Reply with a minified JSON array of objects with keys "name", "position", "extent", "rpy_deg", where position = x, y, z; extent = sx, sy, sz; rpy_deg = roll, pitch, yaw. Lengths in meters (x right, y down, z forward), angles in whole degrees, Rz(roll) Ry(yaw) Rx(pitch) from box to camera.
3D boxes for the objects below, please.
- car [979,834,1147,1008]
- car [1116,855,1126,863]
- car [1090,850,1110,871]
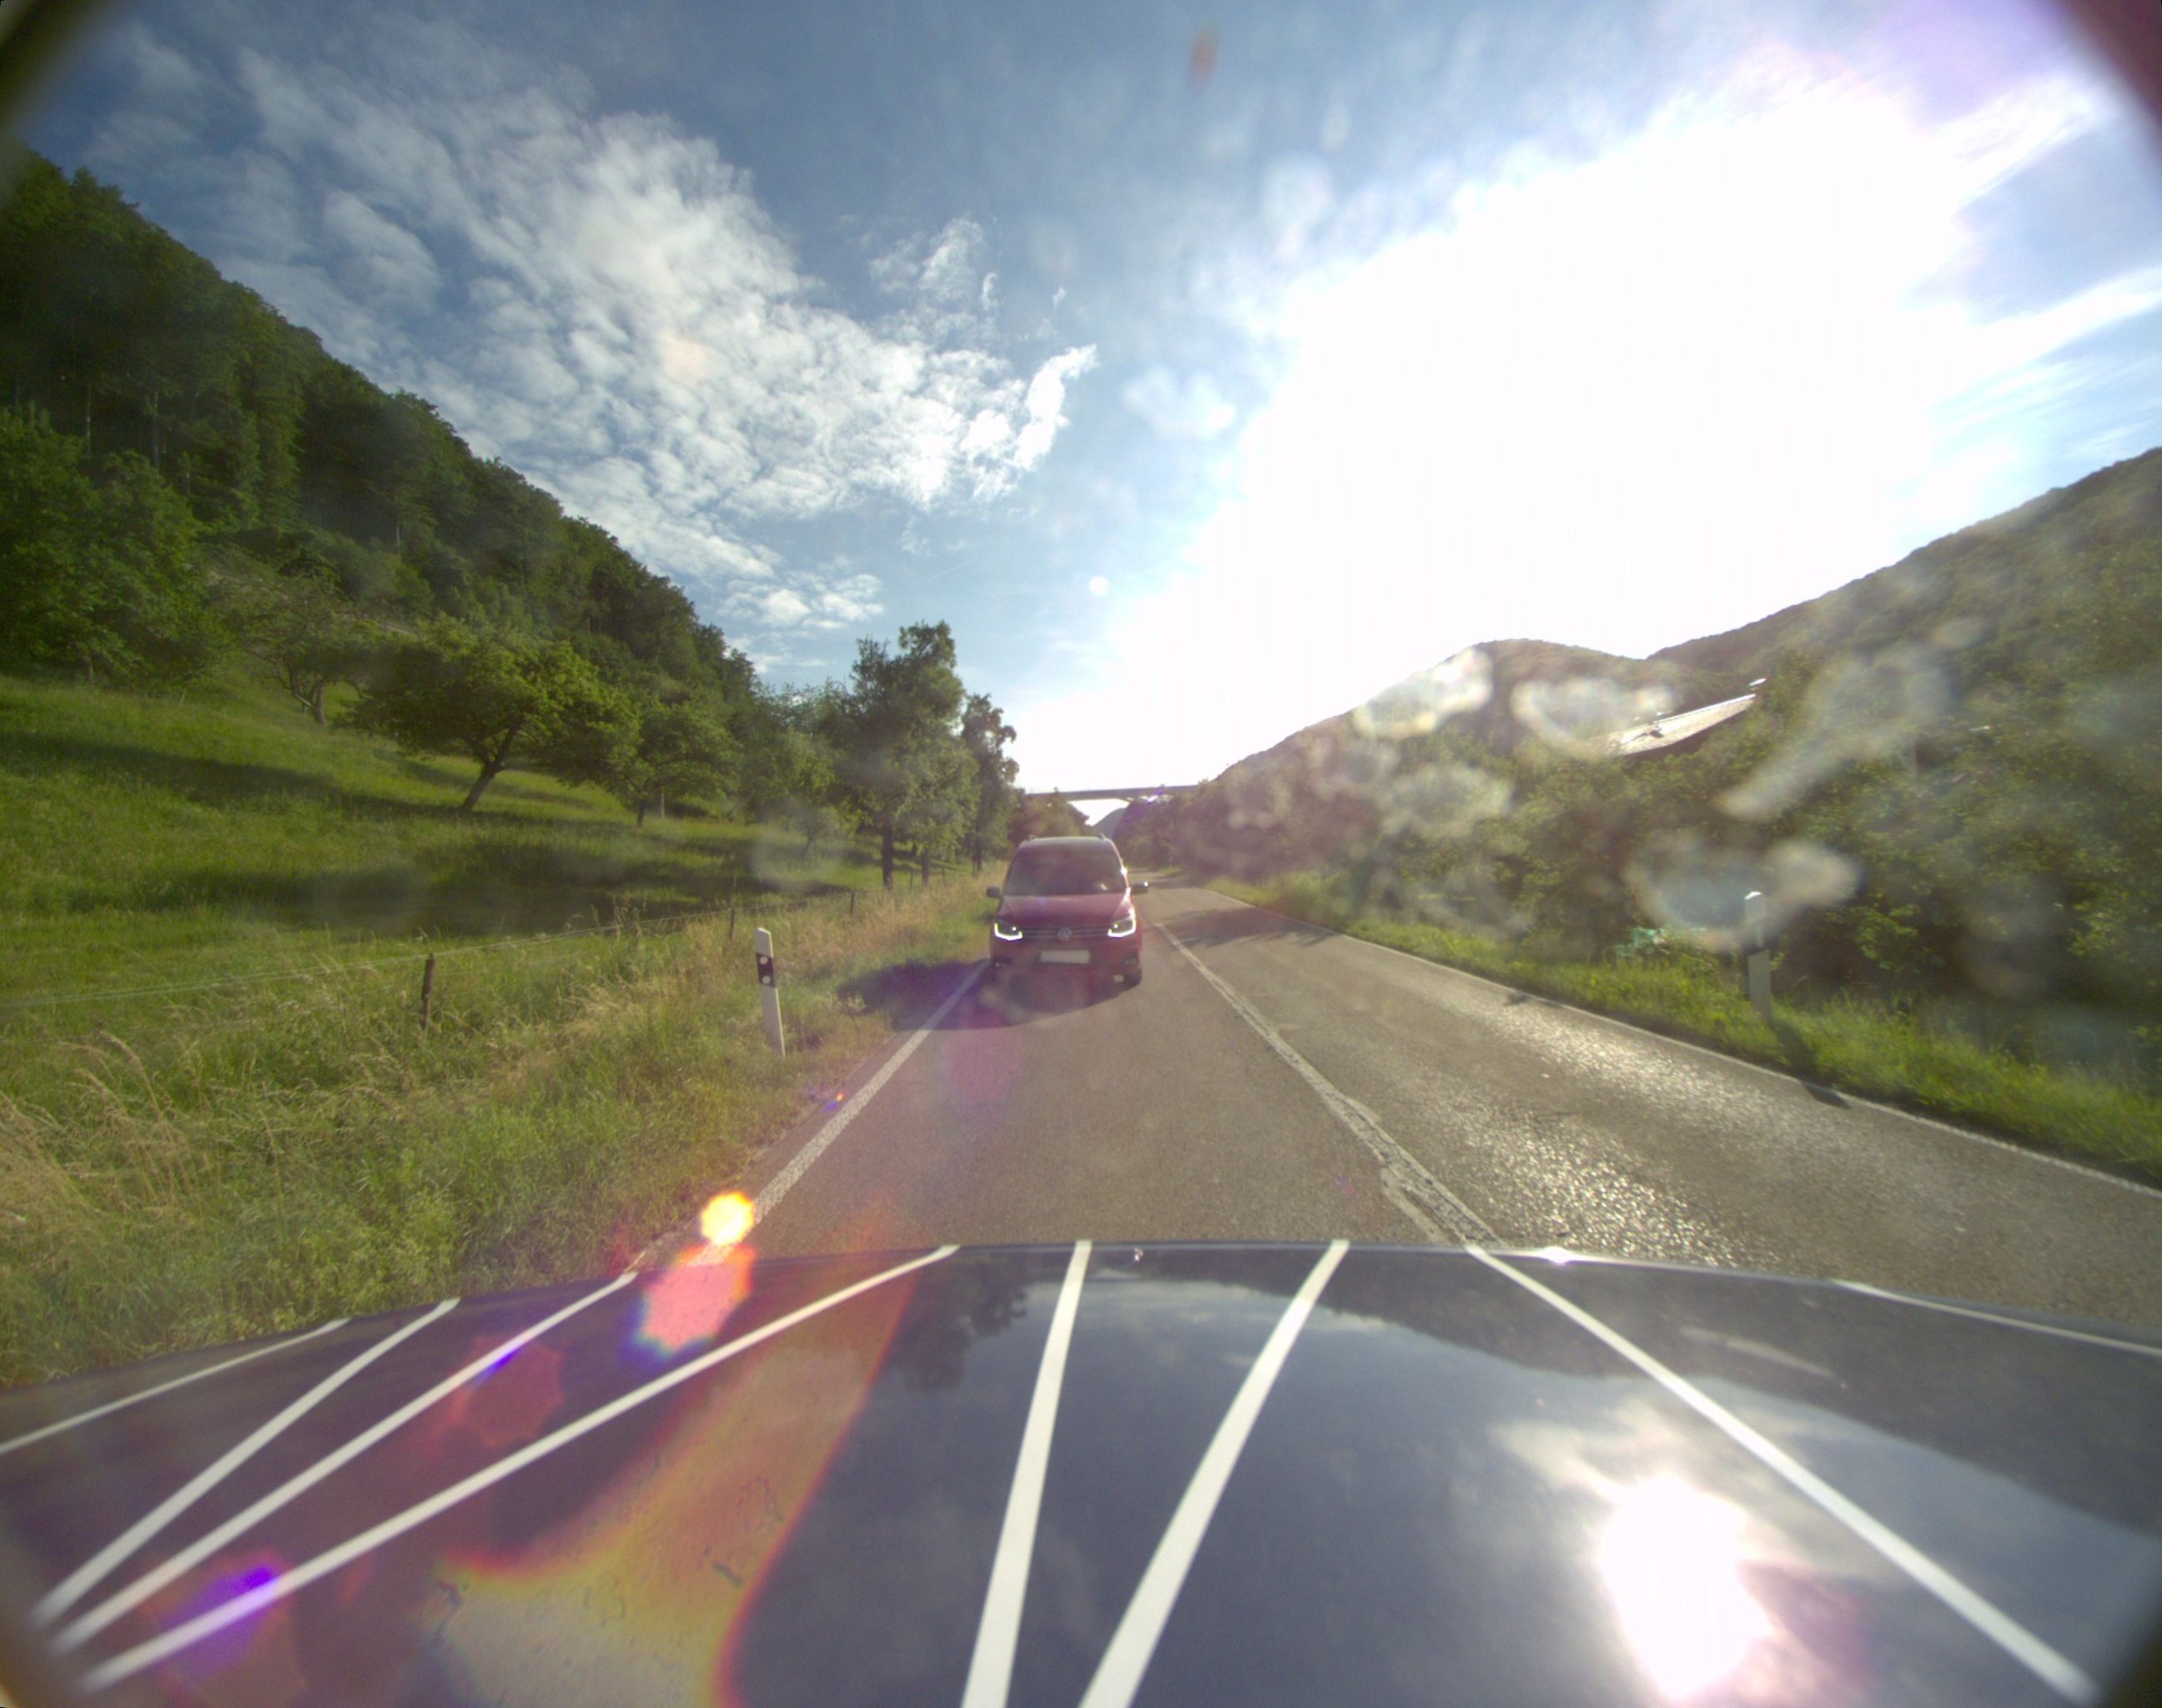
[{"name":"car","position":[-0.201,0.713,10.028],"extent":[1.741,1.803,4.000],"rpy_deg":[-1,0,0]},{"name":"car","position":[7.415,0.955,140.521],"extent":[1.696,1.401,3.663],"rpy_deg":[-1,1,1]},{"name":"car","position":[1.931,0.660,78.174],"extent":[1.998,2.002,3.999],"rpy_deg":[-2,1,1]}]
